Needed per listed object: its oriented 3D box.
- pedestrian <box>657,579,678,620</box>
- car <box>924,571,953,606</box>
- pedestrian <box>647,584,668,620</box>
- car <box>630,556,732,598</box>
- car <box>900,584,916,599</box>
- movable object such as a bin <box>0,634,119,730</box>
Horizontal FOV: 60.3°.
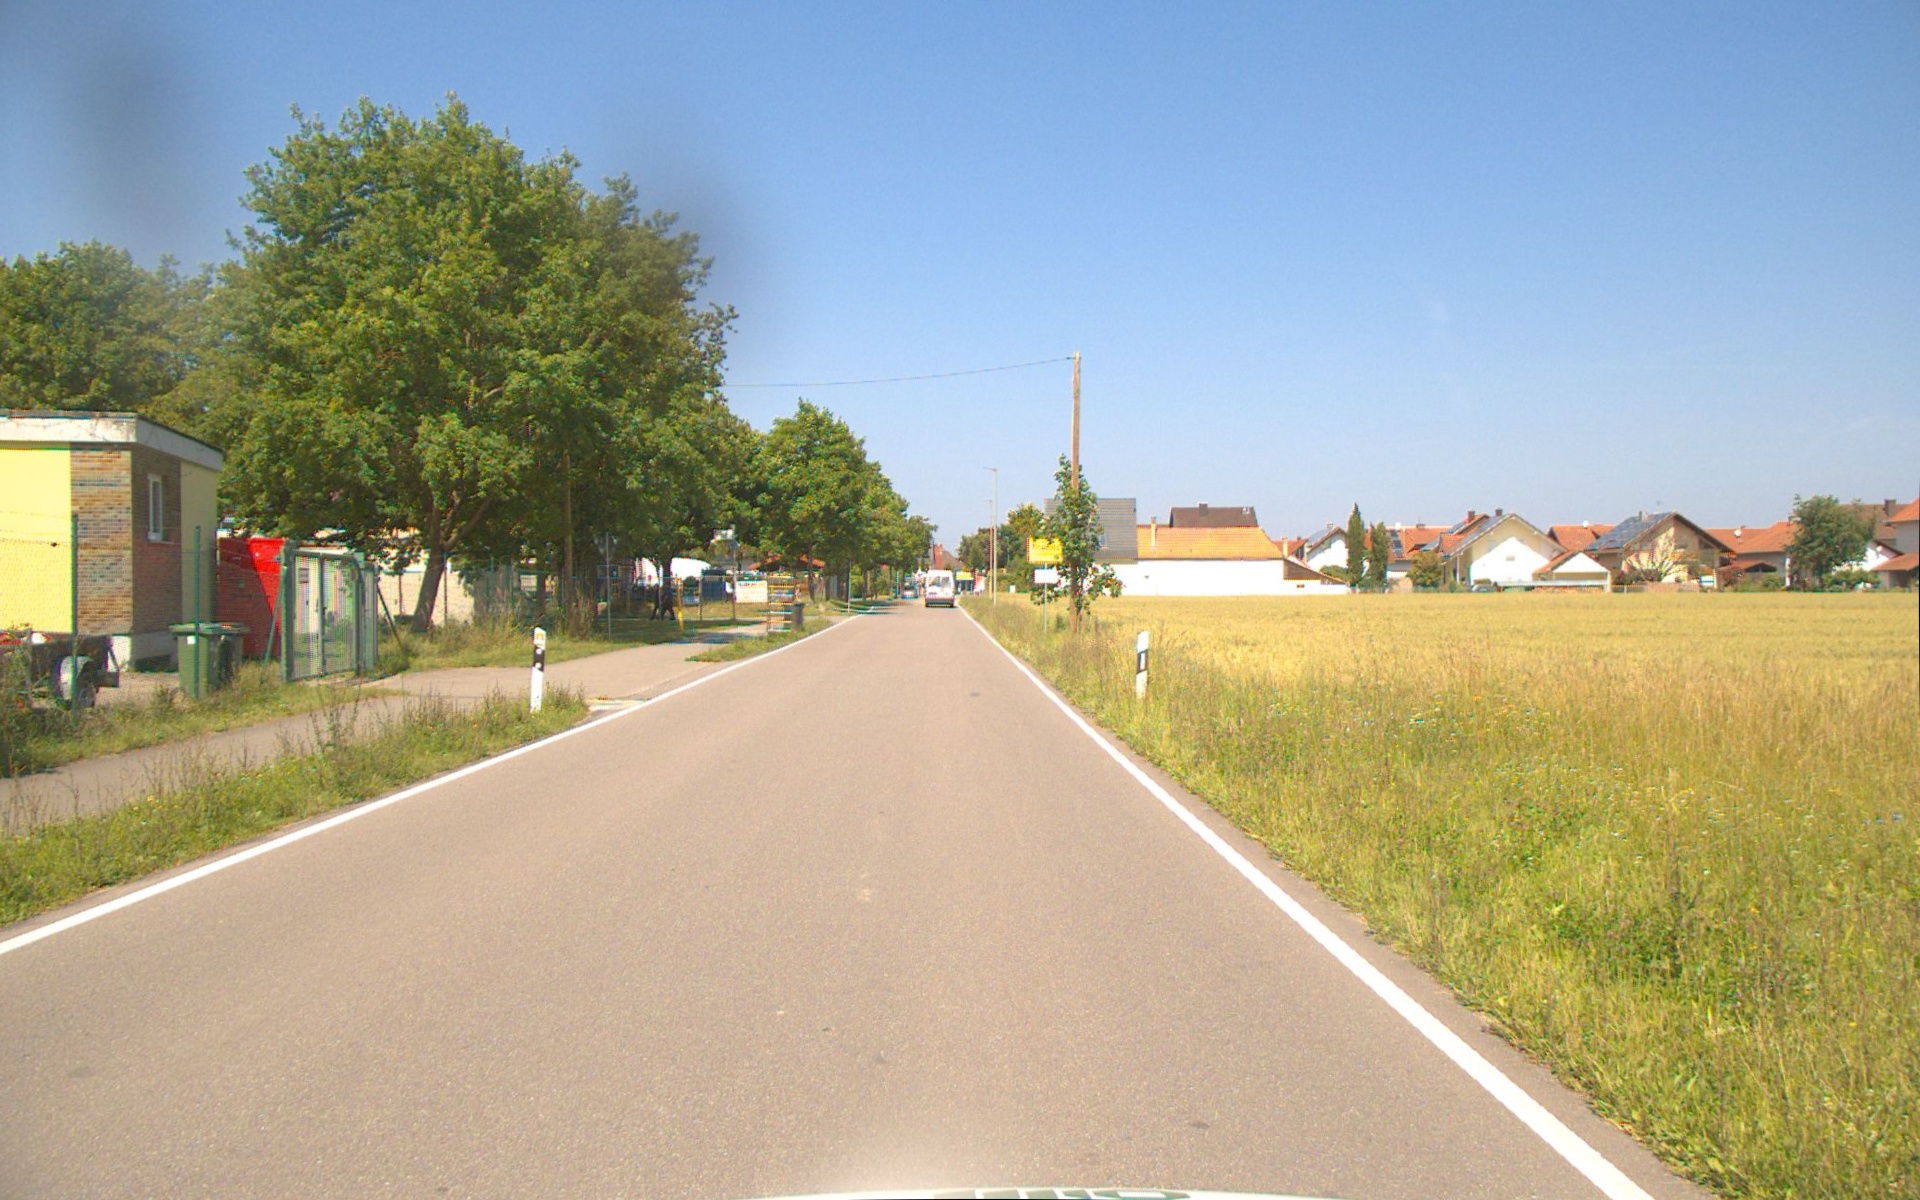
[{"bbox_3d":[-13.208,-0.043,74.740,0.704,1.834,0.711,0,0,14],"label":"pedestrian"},{"bbox_3d":[-1.484,-0.807,113.095,1.953,2.305,4.725,-1,0,-1],"label":"car"},{"bbox_3d":[-13.538,0.082,73.981,0.662,1.593,0.719,0,0,15],"label":"pedestrian"},{"bbox_3d":[-15.819,-1.314,93.978,5.560,2.305,1.971,-1,0,-40],"label":"car"},{"bbox_3d":[-5.631,-0.927,179.315,1.735,1.618,3.999,-1,0,-1],"label":"car"},{"bbox_3d":[-9.265,0.794,16.397,1.076,0.846,1.855,-1,0,-7],"label":"movable object such as a bin"}]
